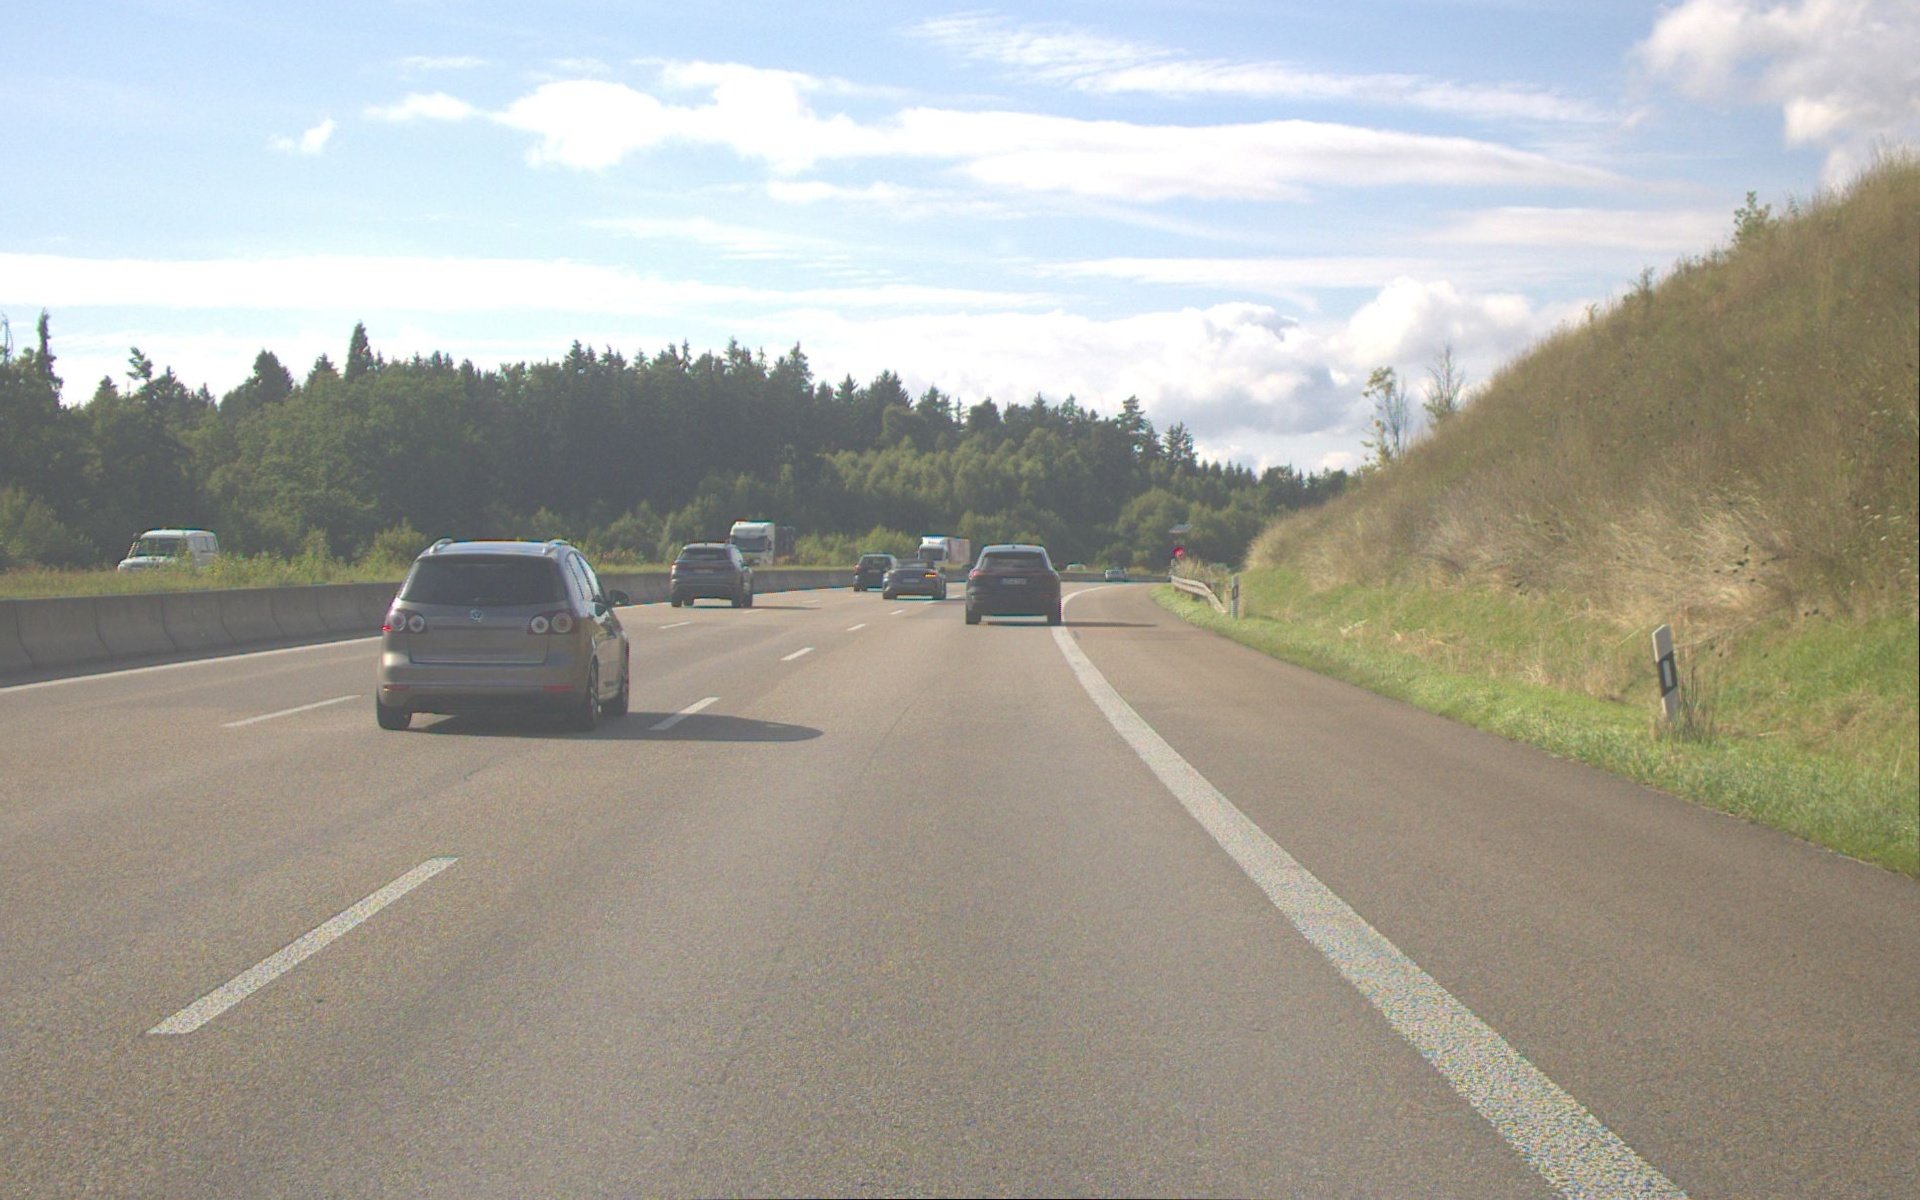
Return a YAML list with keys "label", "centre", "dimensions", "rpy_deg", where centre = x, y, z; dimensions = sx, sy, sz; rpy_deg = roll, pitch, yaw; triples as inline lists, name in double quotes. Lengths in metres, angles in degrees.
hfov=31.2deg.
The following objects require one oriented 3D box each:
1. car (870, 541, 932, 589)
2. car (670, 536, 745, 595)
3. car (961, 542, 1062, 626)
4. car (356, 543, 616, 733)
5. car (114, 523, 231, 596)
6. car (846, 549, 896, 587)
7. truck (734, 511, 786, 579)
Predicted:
- label: "car"
  centre: [-1.864, -1.123, 110.061]
  dimensions: [1.873, 1.492, 3.880]
  rpy_deg: [1, 1, 0]
- label: "car"
  centre: [-6.567, -0.907, 89.682]
  dimensions: [1.873, 1.492, 3.880]
  rpy_deg: [1, 1, -3]
- label: "car"
  centre: [1.028, -0.348, 70.535]
  dimensions: [1.873, 1.669, 3.890]
  rpy_deg: [1, 1, -2]
- label: "car"
  centre: [-3.967, 0.274, 29.306]
  dimensions: [1.873, 1.492, 3.880]
  rpy_deg: [1, 1, -3]
- label: "car"
  centre: [-22.259, -1.161, 97.375]
  dimensions: [1.993, 2.007, 5.387]
  rpy_deg: [1, 1, 1]
- label: "car"
  centre: [-3.566, -1.304, 138.396]
  dimensions: [1.873, 1.492, 3.880]
  rpy_deg: [1, 1, 0]
- label: "truck"
  centre: [-12.992, -3.578, 223.564]
  dimensions: [2.802, 4.377, 5.464]
  rpy_deg: [0, 1, 2]
